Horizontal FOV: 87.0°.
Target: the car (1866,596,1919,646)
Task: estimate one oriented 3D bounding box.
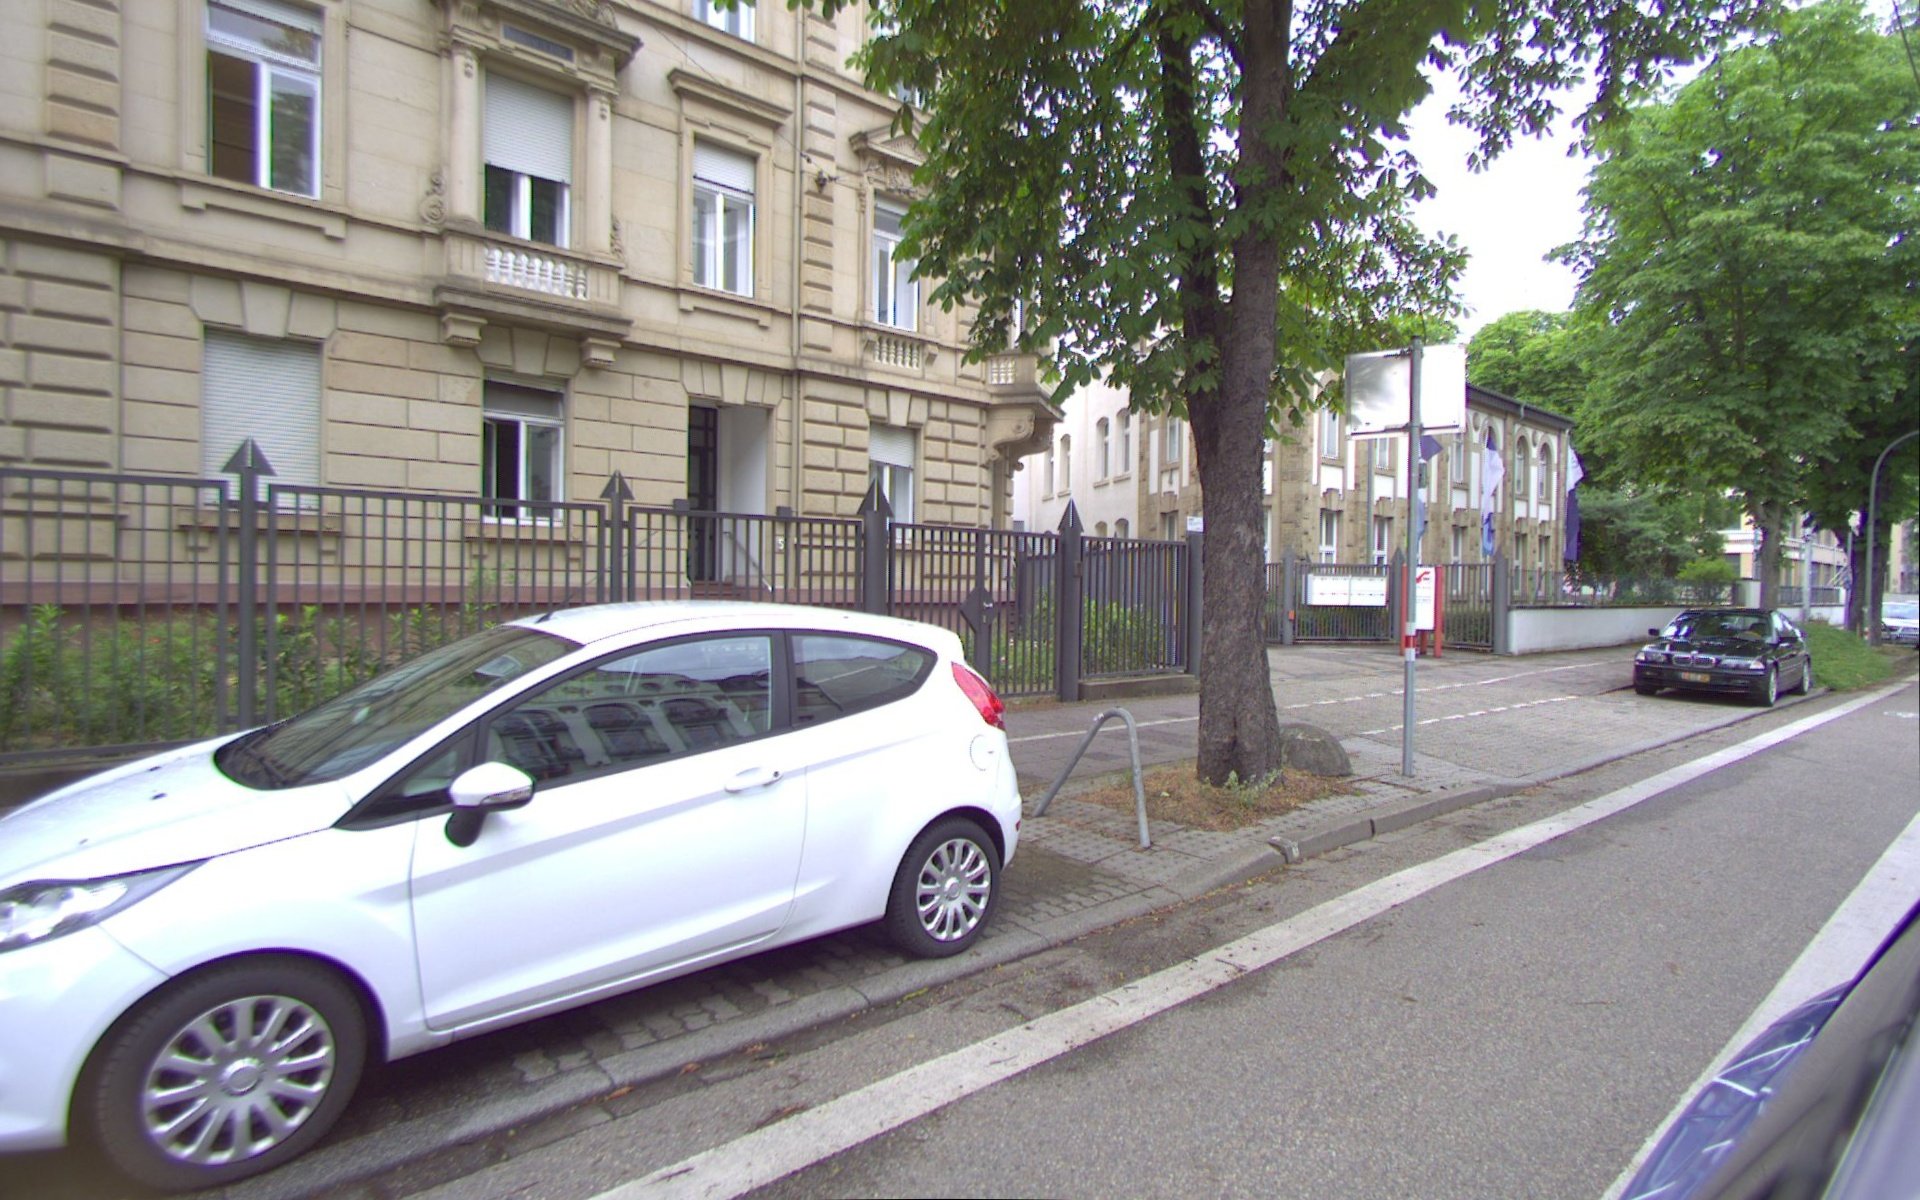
[{"bbox_3d":[28.774,0.615,30.548,3.769,1.387,1.606,0,3,-41],"label":"car"}]

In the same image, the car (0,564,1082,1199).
[{"bbox_3d":[-1.392,0.645,3.997,3.698,1.453,1.631,0,3,-41],"label":"car"}]

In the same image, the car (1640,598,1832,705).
[{"bbox_3d":[12.185,0.716,15.820,3.769,1.387,1.606,0,3,-41],"label":"car"}]

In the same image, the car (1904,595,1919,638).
[{"bbox_3d":[34.128,0.577,35.080,3.769,1.442,1.606,0,3,-41],"label":"car"}]
